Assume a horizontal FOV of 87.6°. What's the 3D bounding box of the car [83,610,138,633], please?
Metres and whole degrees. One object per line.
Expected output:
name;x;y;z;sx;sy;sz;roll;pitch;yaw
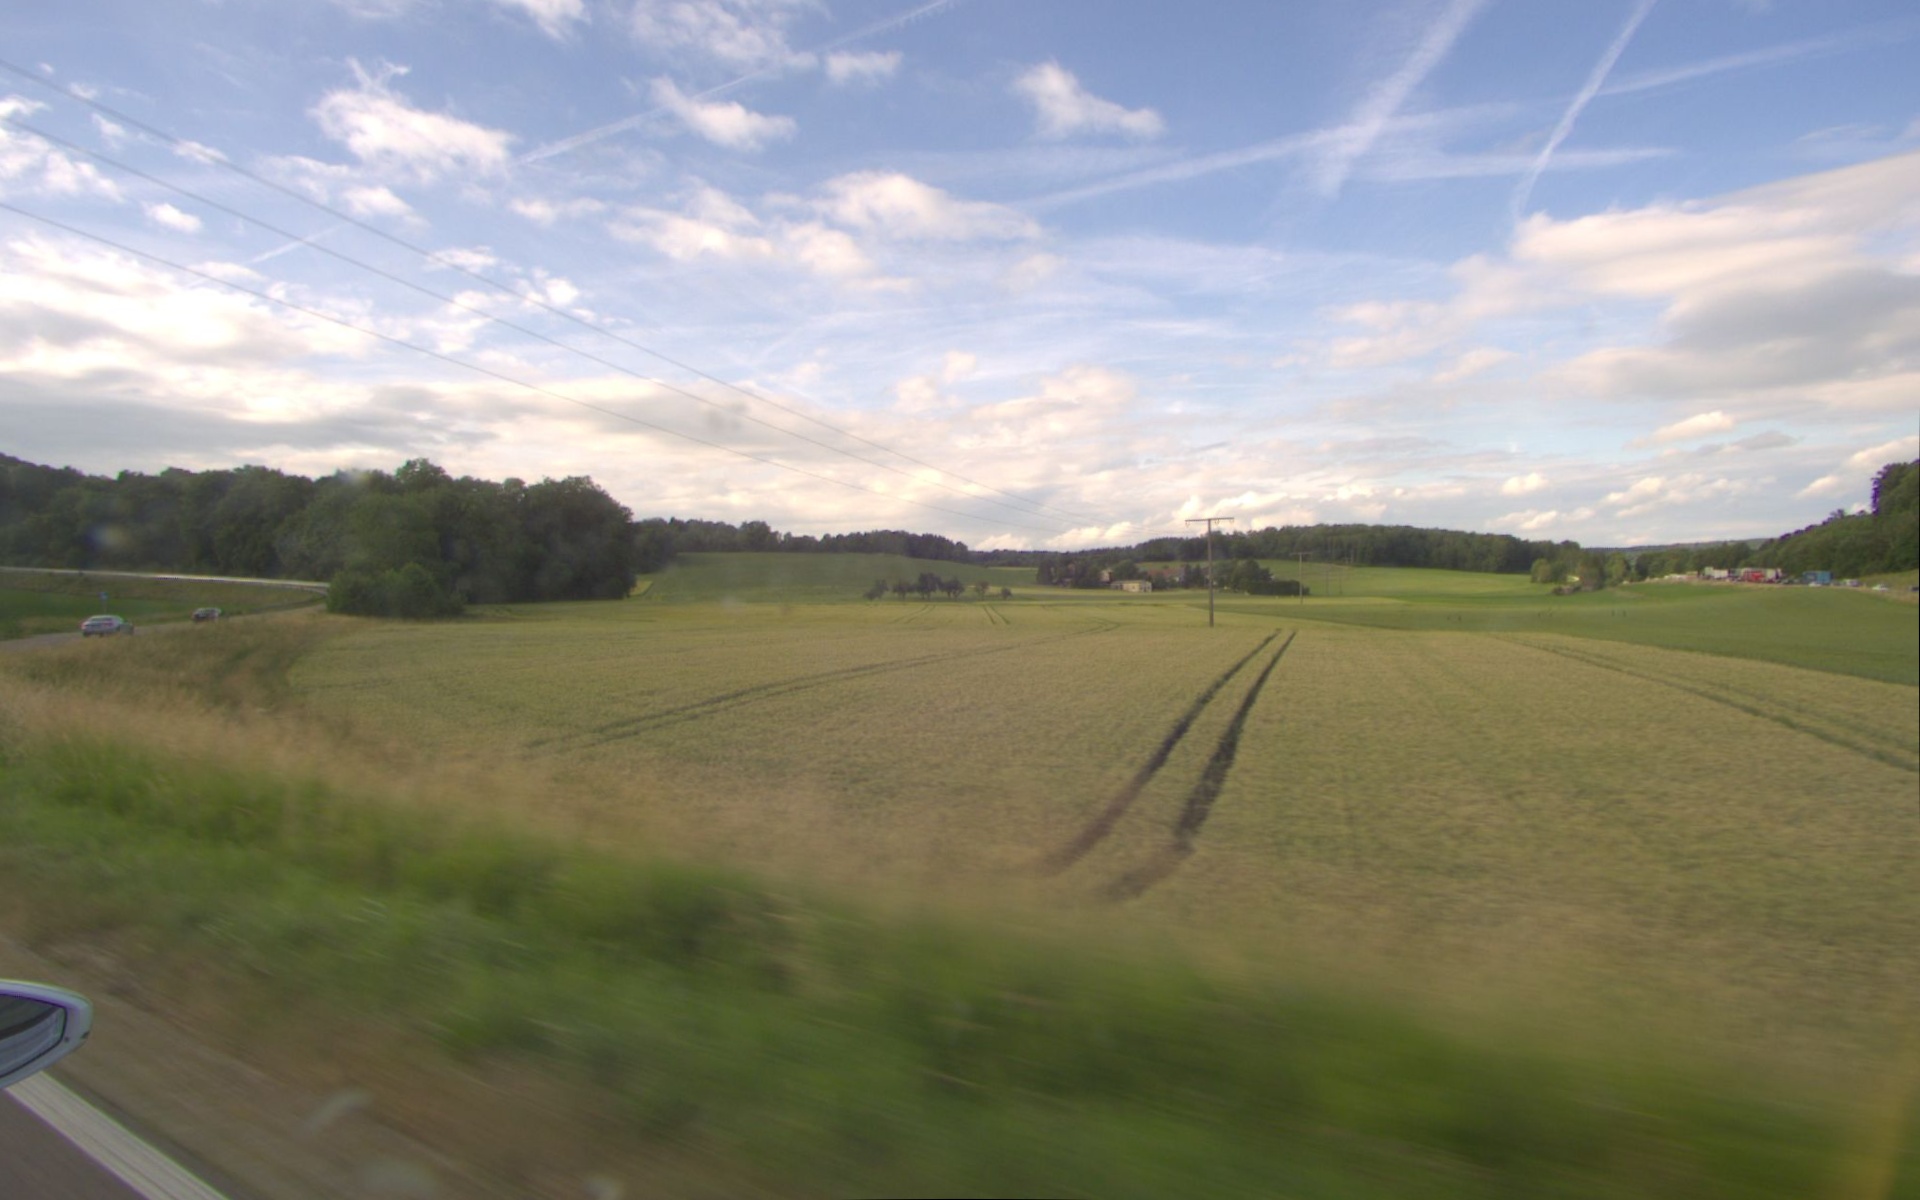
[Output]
car;-58.104;1.456;68.548;1.660;1.394;3.987;-3;1;-23

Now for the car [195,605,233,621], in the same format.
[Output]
car;-67.035;1.154;90.023;1.448;1.244;3.295;-3;1;-11
